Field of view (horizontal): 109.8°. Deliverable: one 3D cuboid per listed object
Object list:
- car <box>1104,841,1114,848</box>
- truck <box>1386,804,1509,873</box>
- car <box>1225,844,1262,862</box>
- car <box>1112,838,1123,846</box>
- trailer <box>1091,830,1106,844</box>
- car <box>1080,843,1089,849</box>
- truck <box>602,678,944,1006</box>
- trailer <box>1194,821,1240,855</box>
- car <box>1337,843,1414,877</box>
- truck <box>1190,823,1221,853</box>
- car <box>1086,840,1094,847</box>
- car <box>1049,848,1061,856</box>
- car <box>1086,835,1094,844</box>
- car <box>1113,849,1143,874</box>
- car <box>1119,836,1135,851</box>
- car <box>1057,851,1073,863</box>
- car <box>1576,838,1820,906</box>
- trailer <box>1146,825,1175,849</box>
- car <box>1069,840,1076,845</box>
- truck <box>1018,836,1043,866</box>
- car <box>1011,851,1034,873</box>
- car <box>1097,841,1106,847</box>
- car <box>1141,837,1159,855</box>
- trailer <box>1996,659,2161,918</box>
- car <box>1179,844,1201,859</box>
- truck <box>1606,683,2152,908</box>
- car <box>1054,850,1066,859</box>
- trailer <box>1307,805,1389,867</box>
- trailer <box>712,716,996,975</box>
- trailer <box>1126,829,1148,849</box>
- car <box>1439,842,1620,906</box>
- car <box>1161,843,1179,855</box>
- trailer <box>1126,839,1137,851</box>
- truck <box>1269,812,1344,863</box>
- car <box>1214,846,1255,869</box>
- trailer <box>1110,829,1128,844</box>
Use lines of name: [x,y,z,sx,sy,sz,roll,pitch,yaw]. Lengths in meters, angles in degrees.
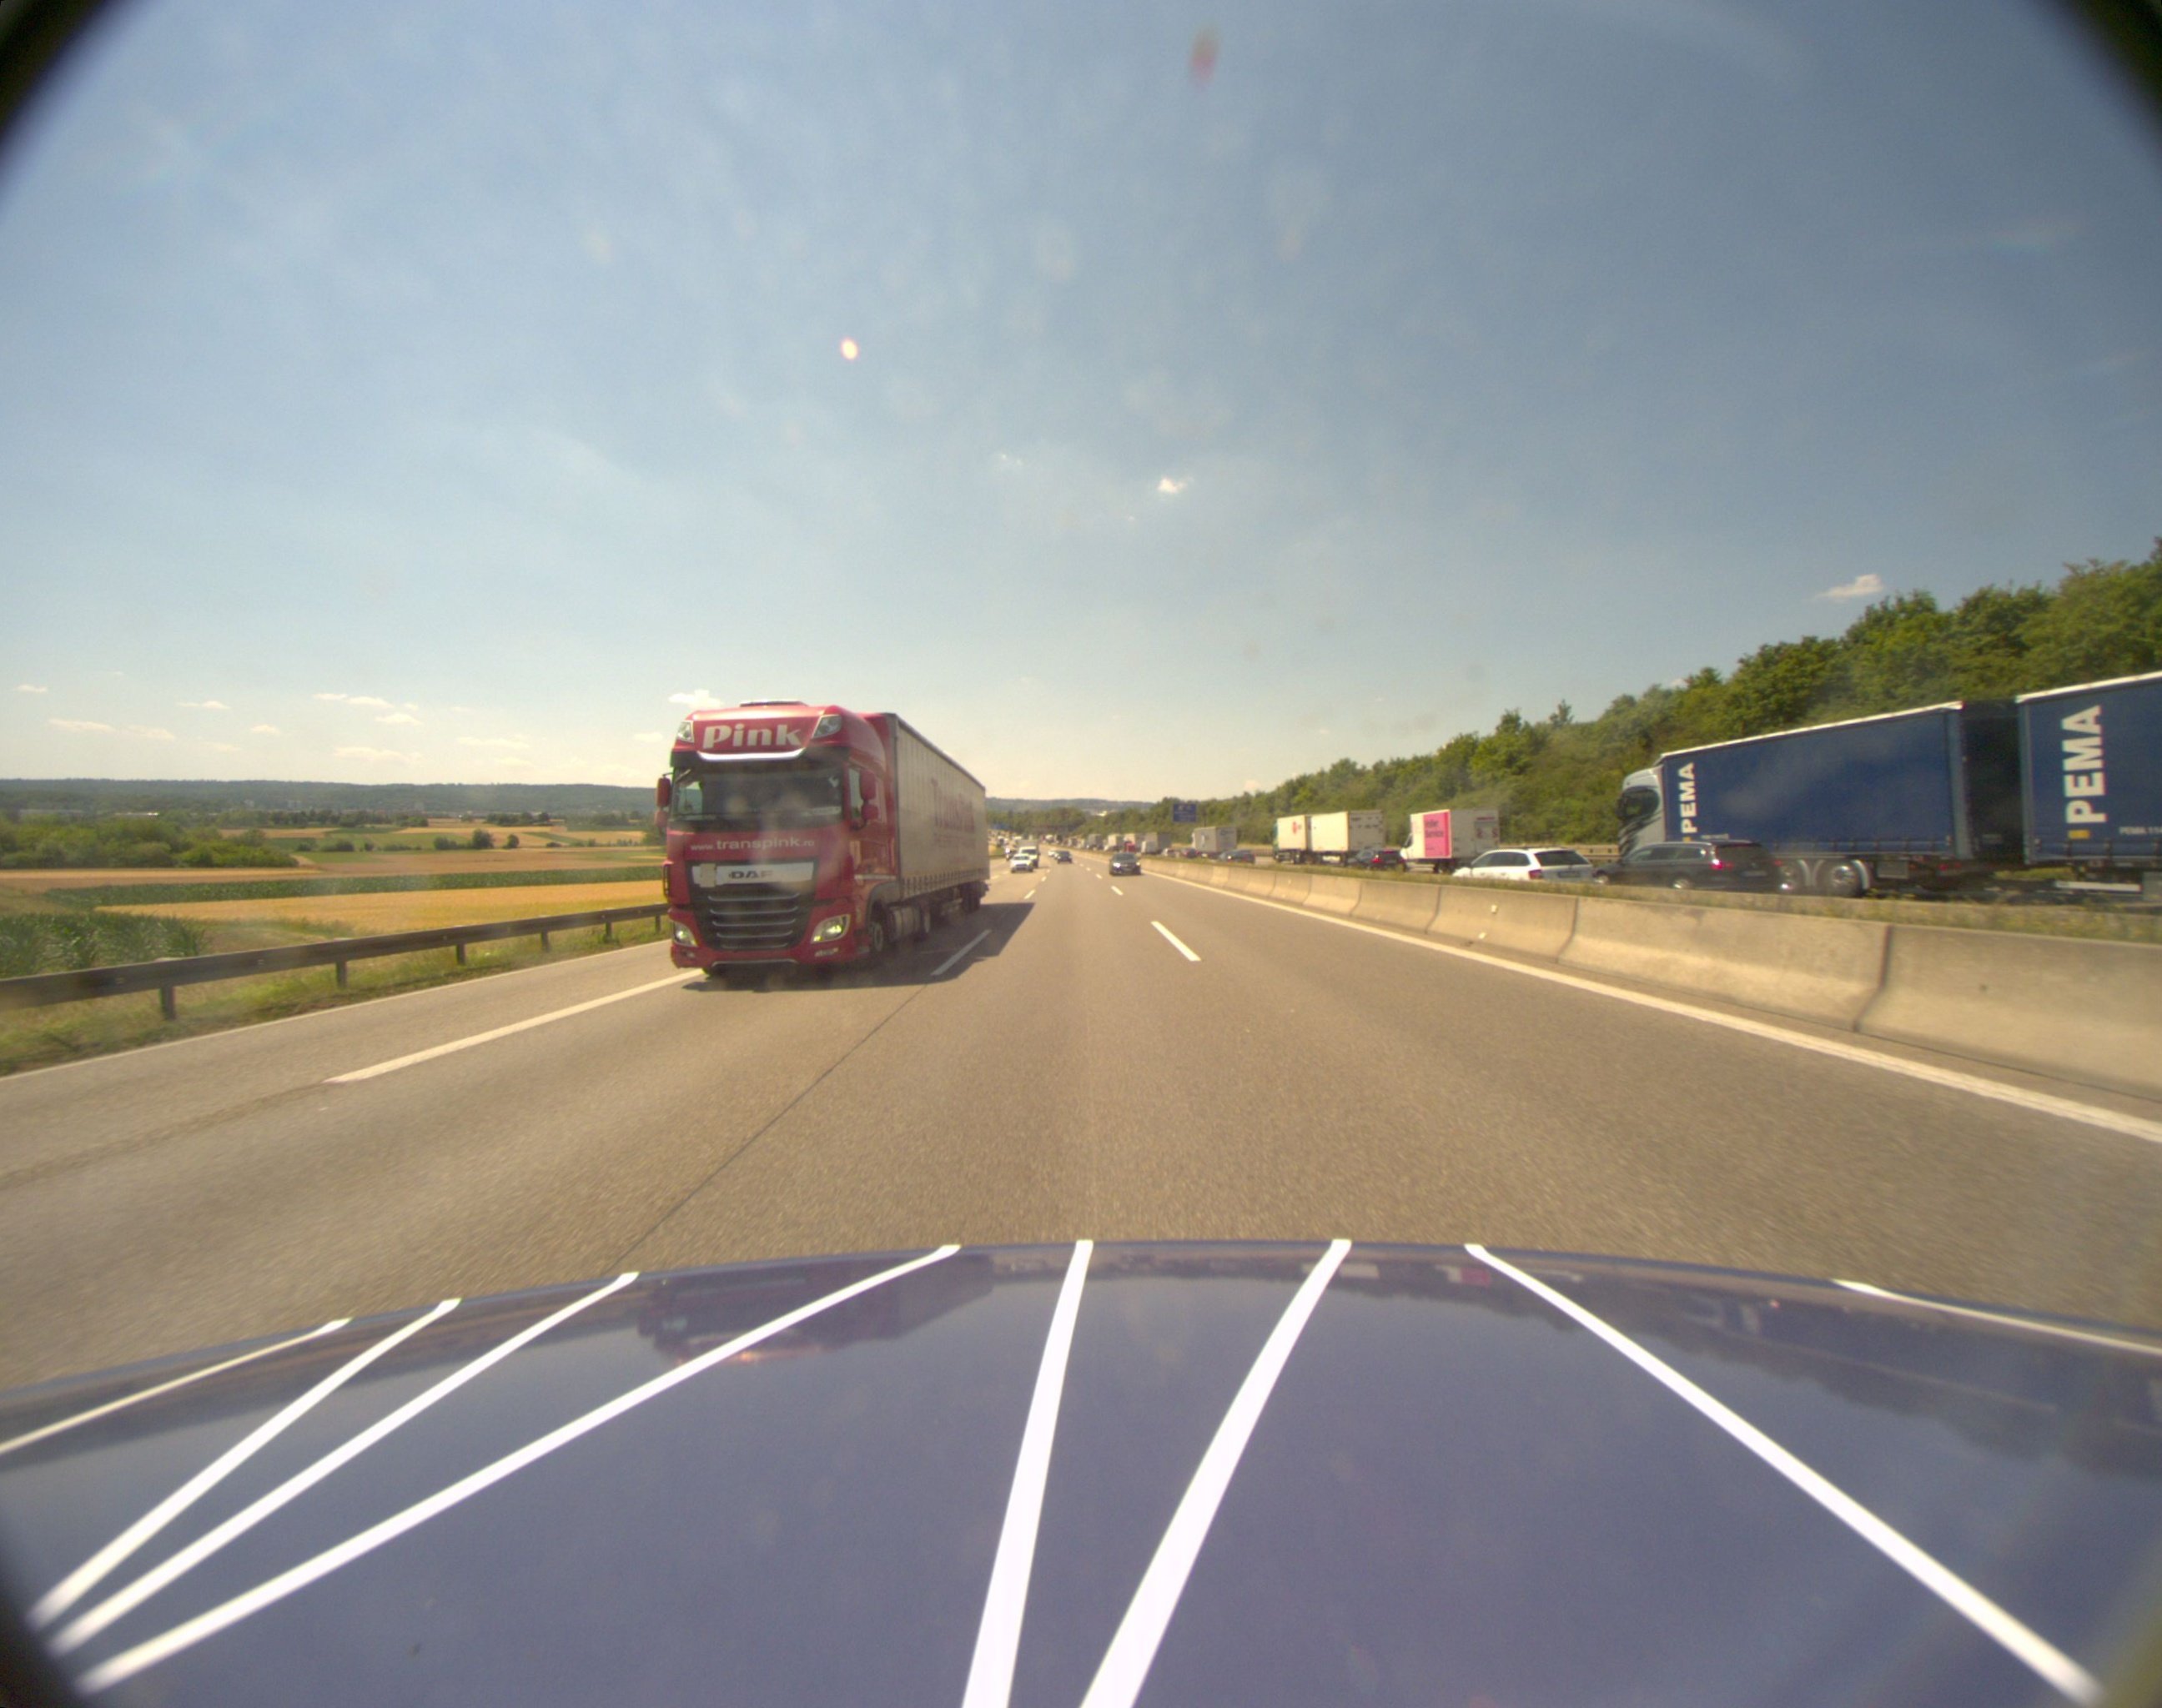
car: [6.955,-2.420,190.286,1.886,1.466,4.403,-2,2,-4]
truck: [18.797,-0.763,39.591,2.545,3.189,7.587,-2,1,-1]
car: [14.727,-0.110,69.080,1.999,1.536,5.492,-2,1,-2]
car: [8.644,-2.850,180.169,1.999,1.706,4.788,-2,2,-4]
trailer: [5.723,-5.629,248.345,3.231,4.396,13.768,-2,2,-6]
car: [1.057,-2.375,221.947,1.999,1.634,4.403,-2,2,-5]
truck: [-4.438,-0.200,12.795,2.924,3.986,6.509,-3,1,0]
trailer: [17.386,-2.029,98.273,2.910,4.063,14.439,-2,1,-2]
car: [14.948,0.267,38.875,1.999,1.518,4.771,-2,1,-1]
truck: [17.140,-2.195,104.993,2.861,4.013,6.601,-2,1,-2]
car: [2.378,-2.819,201.608,1.937,1.679,4.793,-1,1,-4]
car: [-5.193,-0.394,149.559,2.000,1.467,3.996,-3,3,-7]
car: [2.766,-4.521,239.607,1.903,2.559,7.566,-2,2,-5]
car: [3.029,0.484,49.776,1.807,1.534,4.750,-2,0,2]
car: [9.580,-2.243,158.400,2.243,2.997,6.547,-2,1,-6]
car: [-2.086,0.373,97.427,1.866,1.426,3.997,-2,2,-3]
car: [15.385,0.363,19.446,1.999,1.447,5.169,-2,1,-1]
trailer: [14.934,-3.203,144.468,2.990,4.183,14.184,-3,2,-3]
car: [-2.797,-3.776,253.887,1.999,1.570,4.591,-2,2,-5]
truck: [-5.378,-0.391,81.780,2.446,3.011,6.912,-3,2,-3]
car: [-5.118,0.684,66.290,1.837,1.636,4.169,-3,2,-4]
car: [5.741,-2.792,211.540,1.882,1.426,4.921,-3,2,-5]
car: [11.848,-1.472,131.063,2.145,2.771,6.620,-3,3,-3]
trailer: [18.921,-1.075,10.193,2.993,4.168,8.594,-2,1,1]
car: [13.712,-0.359,95.703,1.866,1.632,5.110,-2,2,-2]
truck: [18.976,-1.151,19.890,3.009,4.209,10.732,-2,1,0]
car: [-3.484,0.098,125.802,1.866,1.322,3.997,-2,2,-3]
trailer: [19.011,-1.232,54.772,2.928,4.048,8.228,-1,1,0]
trailer: [-4.467,-0.251,19.331,2.926,4.094,13.854,-3,1,0]
trailer: [12.689,-3.329,172.870,2.819,4.254,13.859,-3,1,-4]
car: [11.443,0.419,19.865,1.842,1.278,4.872,-2,2,0]
car: [12.826,-0.747,110.097,1.756,1.452,4.855,-3,3,-3]
trailer: [10.224,-1.849,153.313,1.574,2.240,3.959,-2,1,-6]
truck: [18.823,-1.321,64.375,2.850,3.876,11.244,-1,1,-1]
car: [11.277,0.238,56.138,1.999,1.518,4.771,-2,1,-1]
trailer: [10.173,-4.694,206.128,2.911,3.851,13.866,-2,2,-4]
